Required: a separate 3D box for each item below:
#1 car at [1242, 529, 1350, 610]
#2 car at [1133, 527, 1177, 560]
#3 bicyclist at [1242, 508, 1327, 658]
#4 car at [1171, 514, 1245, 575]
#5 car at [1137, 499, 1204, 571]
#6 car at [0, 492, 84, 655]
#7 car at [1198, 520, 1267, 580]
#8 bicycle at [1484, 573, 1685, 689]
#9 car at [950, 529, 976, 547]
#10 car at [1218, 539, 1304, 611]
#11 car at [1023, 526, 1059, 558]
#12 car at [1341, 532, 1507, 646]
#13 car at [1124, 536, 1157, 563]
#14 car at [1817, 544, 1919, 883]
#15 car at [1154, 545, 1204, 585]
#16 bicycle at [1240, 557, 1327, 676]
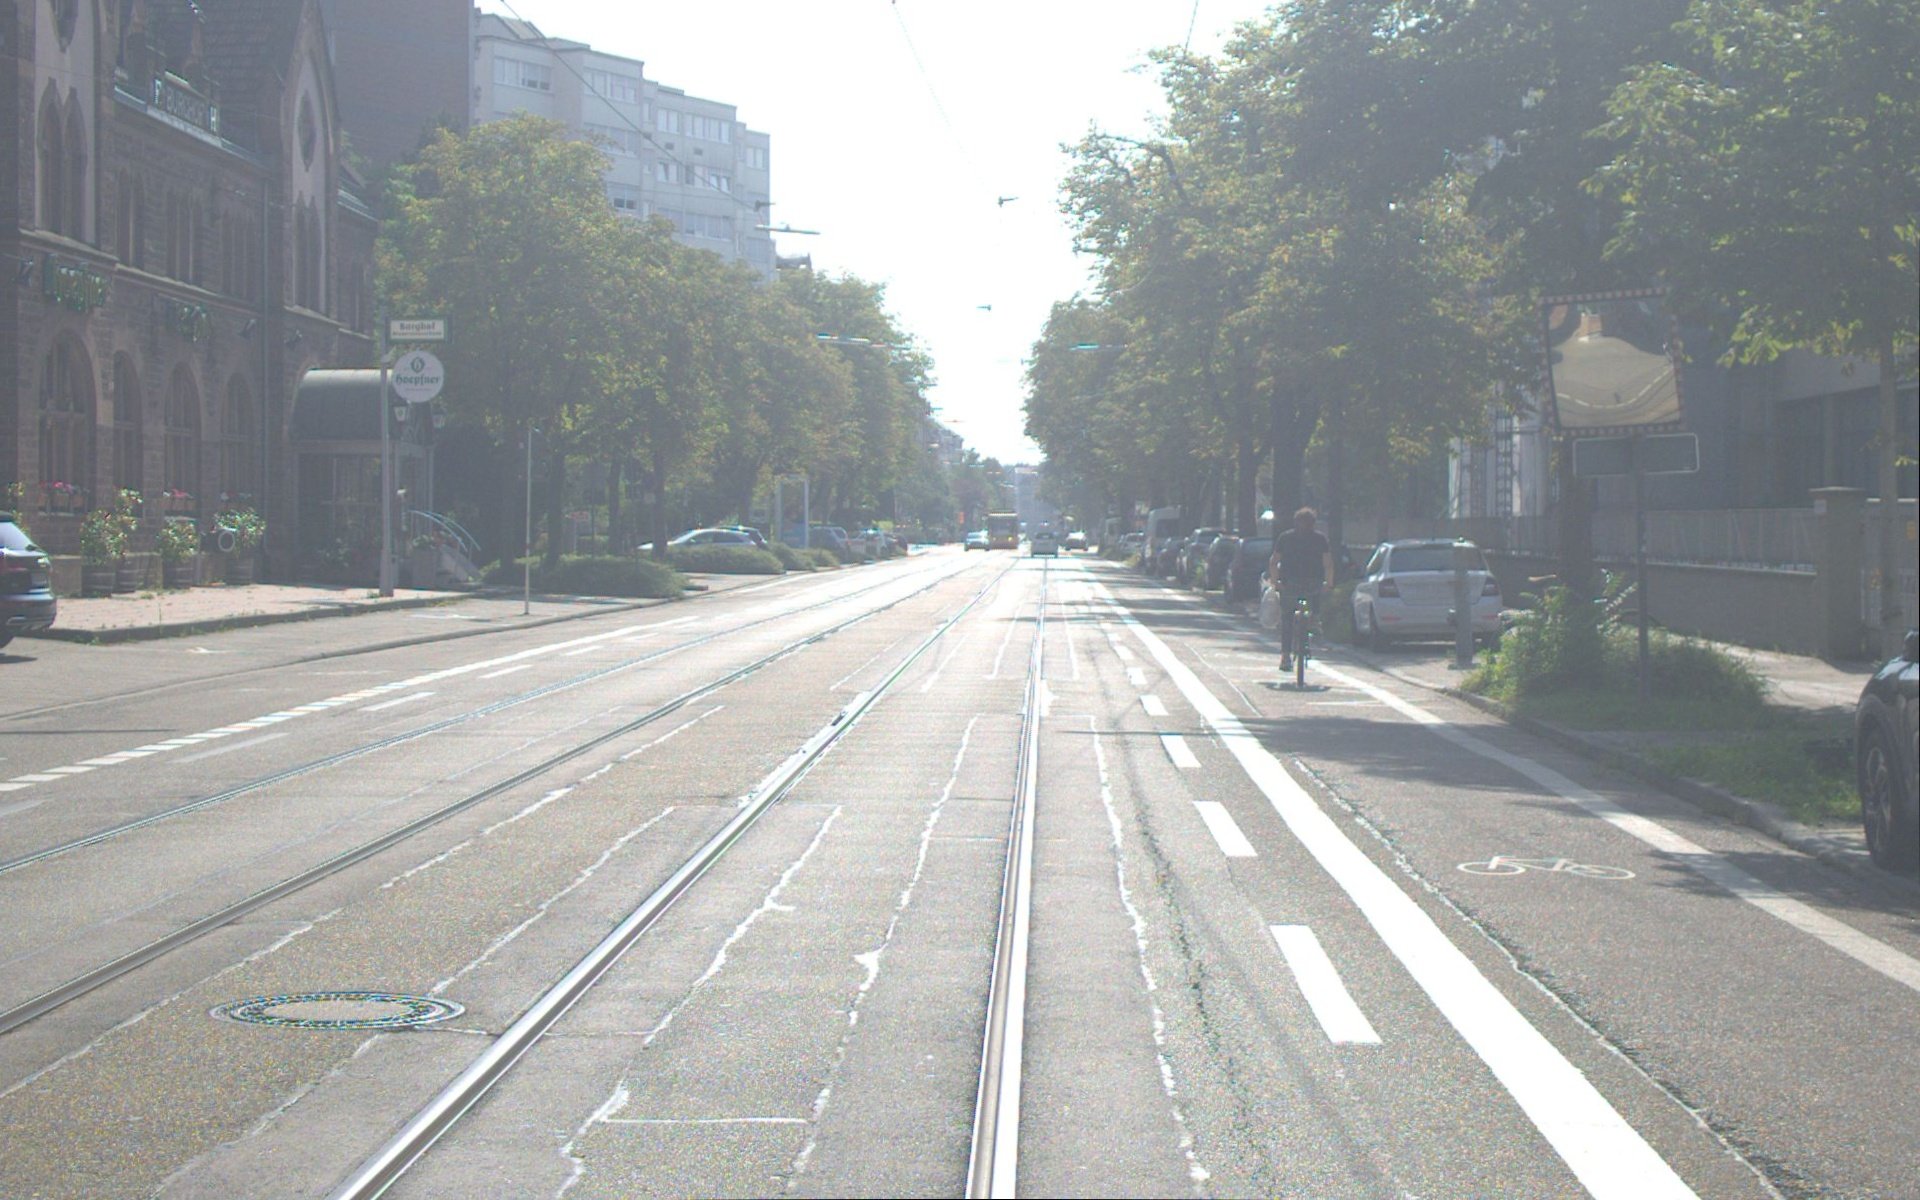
[{"bbox_3d":[6.212,-0.585,63.871,1.646,1.423,4.085,-1,1,1],"label":"car"},{"bbox_3d":[8.428,-2.447,149.000,1.753,1.373,4.719,-1,1,2],"label":"car"},{"bbox_3d":[3.227,-0.177,34.279,0.787,1.465,1.116,0,1,3],"label":"bicyclist"},{"bbox_3d":[7.087,-1.608,98.692,1.753,1.685,4.397,1,1,0],"label":"car"},{"bbox_3d":[7.937,-2.451,129.905,2.082,2.544,5.502,-3,1,0],"label":"car"},{"bbox_3d":[-11.744,-0.425,36.329,4.396,1.640,1.957,4,1,-1],"label":"car"},{"bbox_3d":[7.012,-1.312,88.760,1.576,1.479,3.738,-1,1,2],"label":"car"},{"bbox_3d":[6.000,0.294,33.078,1.769,1.060,0.796,-1,1,0],"label":"bicycle"},{"bbox_3d":[0.237,-4.674,258.915,1.828,1.371,4.513,0,1,1],"label":"car"},{"bbox_3d":[6.599,-0.561,75.580,1.646,1.506,3.778,-1,1,2],"label":"car"},{"bbox_3d":[4.819,-3.442,203.646,1.994,1.831,4.000,0,1,3],"label":"car"},{"bbox_3d":[6.091,-0.165,45.509,1.640,1.425,3.989,-1,1,0],"label":"car"},{"bbox_3d":[9.547,-2.678,182.381,1.690,1.413,3.634,0,1,2],"label":"car"},{"bbox_3d":[5.140,0.517,14.911,1.741,1.481,4.437,-1,2,0],"label":"car"},{"bbox_3d":[7.610,-1.234,119.786,1.616,1.369,4.827,0,1,2],"label":"car"},{"bbox_3d":[3.241,0.145,34.604,0.787,1.140,2.305,1,1,3],"label":"bicycle"}]
